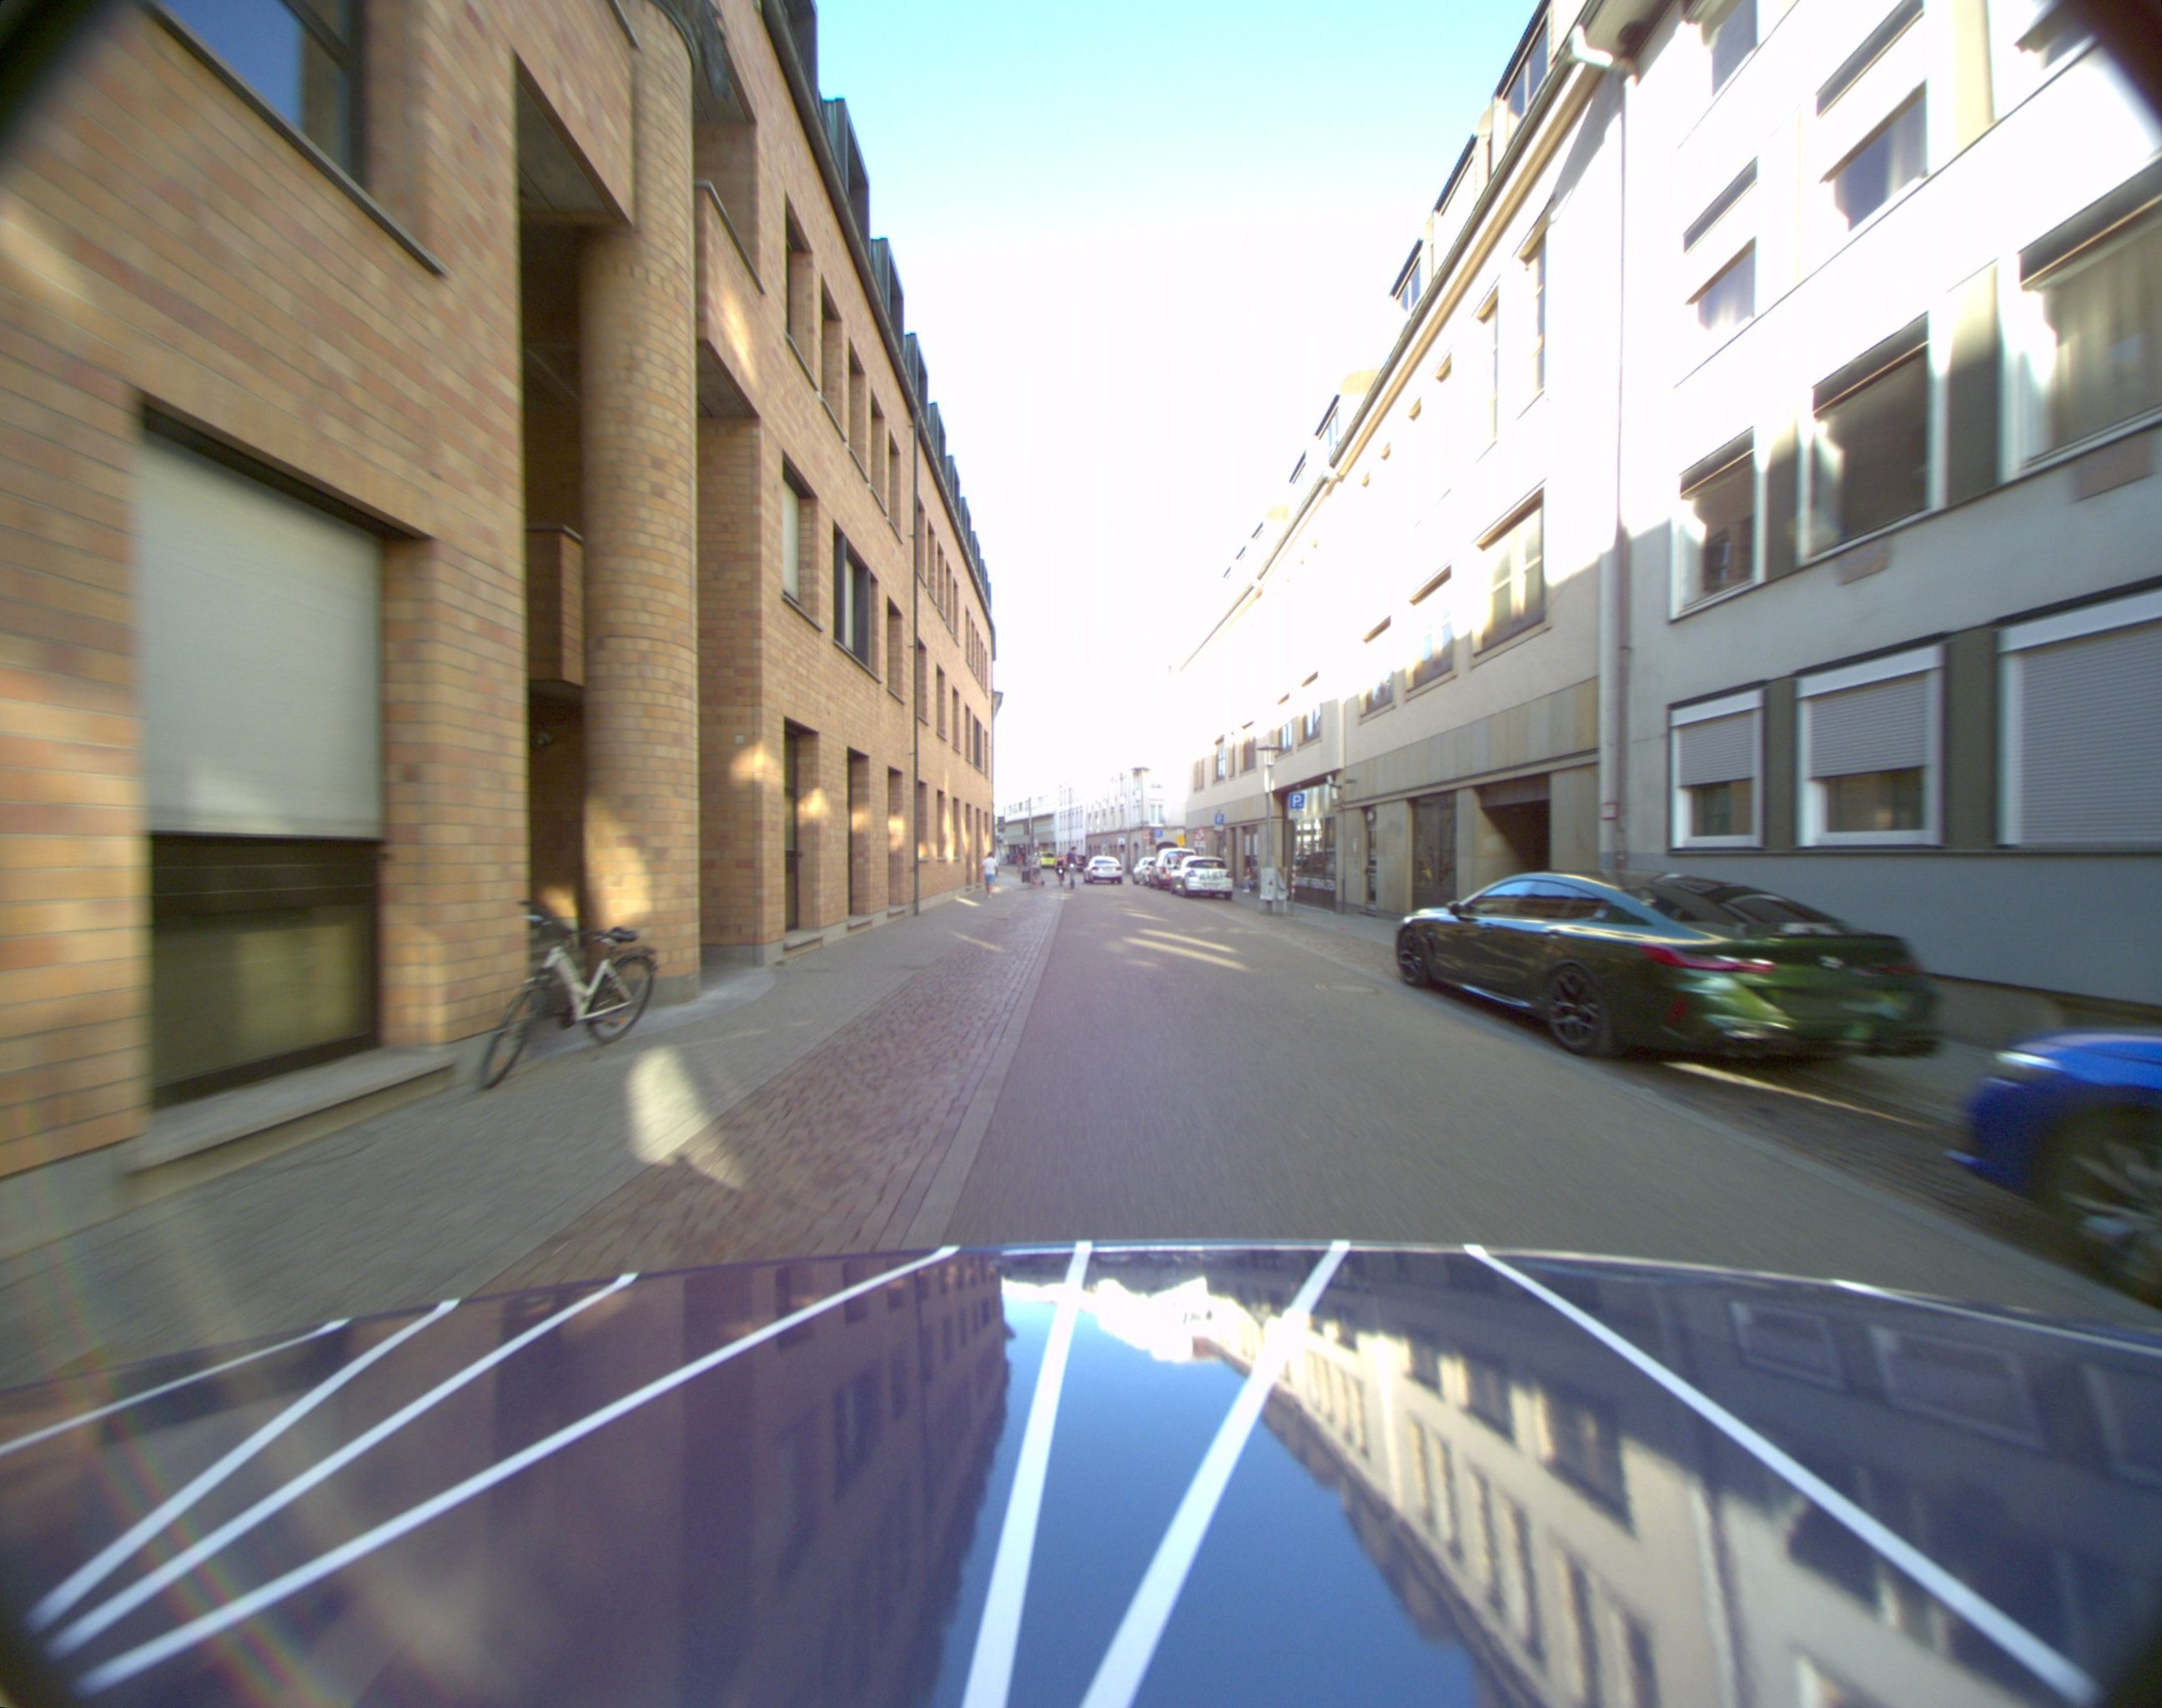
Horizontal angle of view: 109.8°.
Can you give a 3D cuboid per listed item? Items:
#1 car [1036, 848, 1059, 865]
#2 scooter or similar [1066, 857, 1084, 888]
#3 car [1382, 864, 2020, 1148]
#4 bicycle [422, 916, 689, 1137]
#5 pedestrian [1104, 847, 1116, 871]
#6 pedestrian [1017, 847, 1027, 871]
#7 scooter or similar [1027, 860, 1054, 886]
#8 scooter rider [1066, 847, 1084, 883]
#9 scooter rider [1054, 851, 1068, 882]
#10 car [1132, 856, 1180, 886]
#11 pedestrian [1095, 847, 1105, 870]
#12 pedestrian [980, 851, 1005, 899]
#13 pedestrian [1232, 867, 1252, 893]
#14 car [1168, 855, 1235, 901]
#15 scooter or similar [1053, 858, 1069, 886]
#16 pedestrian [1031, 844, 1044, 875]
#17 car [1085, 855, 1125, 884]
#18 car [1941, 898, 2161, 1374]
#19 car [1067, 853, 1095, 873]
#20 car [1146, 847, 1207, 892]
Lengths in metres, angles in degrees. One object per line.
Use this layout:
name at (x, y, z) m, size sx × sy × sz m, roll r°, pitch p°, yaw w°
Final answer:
car at (-3.831, 0.249, 86.450) m, size 1.890 × 1.863 × 3.994 m, roll 0°, pitch 0°, yaw -14°
scooter or similar at (-0.287, 0.833, 34.593) m, size 0.524 × 1.388 × 1.554 m, roll 0°, pitch 1°, yaw -11°
car at (4.618, 0.934, 6.887) m, size 1.894 × 1.521 × 4.729 m, roll 4°, pitch 0°, yaw 1°
bicycle at (-3.553, 1.082, 5.390) m, size 0.551 × 1.097 × 1.981 m, roll 3°, pitch 0°, yaw -3°
pedestrian at (2.501, 0.422, 65.749) m, size 0.938 × 2.002 × 0.698 m, roll 0°, pitch 1°, yaw -12°
pedestrian at (-4.947, 0.444, 63.411) m, size 0.716 × 2.002 × 0.698 m, roll 0°, pitch 1°, yaw -12°
scooter or similar at (-2.042, 0.957, 38.581) m, size 0.537 × 1.228 × 1.422 m, roll -1°, pitch 0°, yaw 37°
scooter rider at (-0.281, 0.489, 34.662) m, size 0.648 × 1.585 × 0.599 m, roll -2°, pitch 2°, yaw -11°
scooter rider at (-0.998, 0.615, 38.097) m, size 0.592 × 1.500 × 0.599 m, roll -2°, pitch 2°, yaw -11°
car at (3.942, 0.856, 40.436) m, size 1.742 × 1.483 × 3.797 m, roll 1°, pitch 0°, yaw -6°
pedestrian at (1.616, 0.377, 65.586) m, size 0.716 × 2.002 × 0.698 m, roll 0°, pitch 1°, yaw -12°
pedestrian at (-3.228, 0.759, 27.816) m, size 0.762 × 1.706 × 0.821 m, roll 2°, pitch 1°, yaw -1°
pedestrian at (6.617, 1.073, 31.226) m, size 0.657 × 1.029 × 0.617 m, roll 0°, pitch 1°, yaw -6°
car at (4.401, 0.844, 28.239) m, size 1.674 × 1.513 × 3.774 m, roll 2°, pitch 0°, yaw -3°
scooter or similar at (-0.990, 0.878, 38.022) m, size 0.550 × 1.388 × 1.554 m, roll 0°, pitch 1°, yaw -11°
pedestrian at (-2.856, 0.375, 49.765) m, size 0.716 × 2.002 × 0.698 m, roll 0°, pitch 1°, yaw -12°
car at (1.263, 0.806, 41.279) m, size 1.719 × 1.509 × 4.158 m, roll 0°, pitch 0°, yaw -4°
car at (4.448, 0.953, 0.940) m, size 1.894 × 1.521 × 4.340 m, roll 0°, pitch 0°, yaw 1°
car at (0.005, 0.809, 69.711) m, size 1.889 × 1.694 × 3.996 m, roll -2°, pitch 1°, yaw -9°
car at (4.245, 0.655, 34.446) m, size 1.904 × 1.847 × 4.732 m, roll 1°, pitch 0°, yaw -3°
